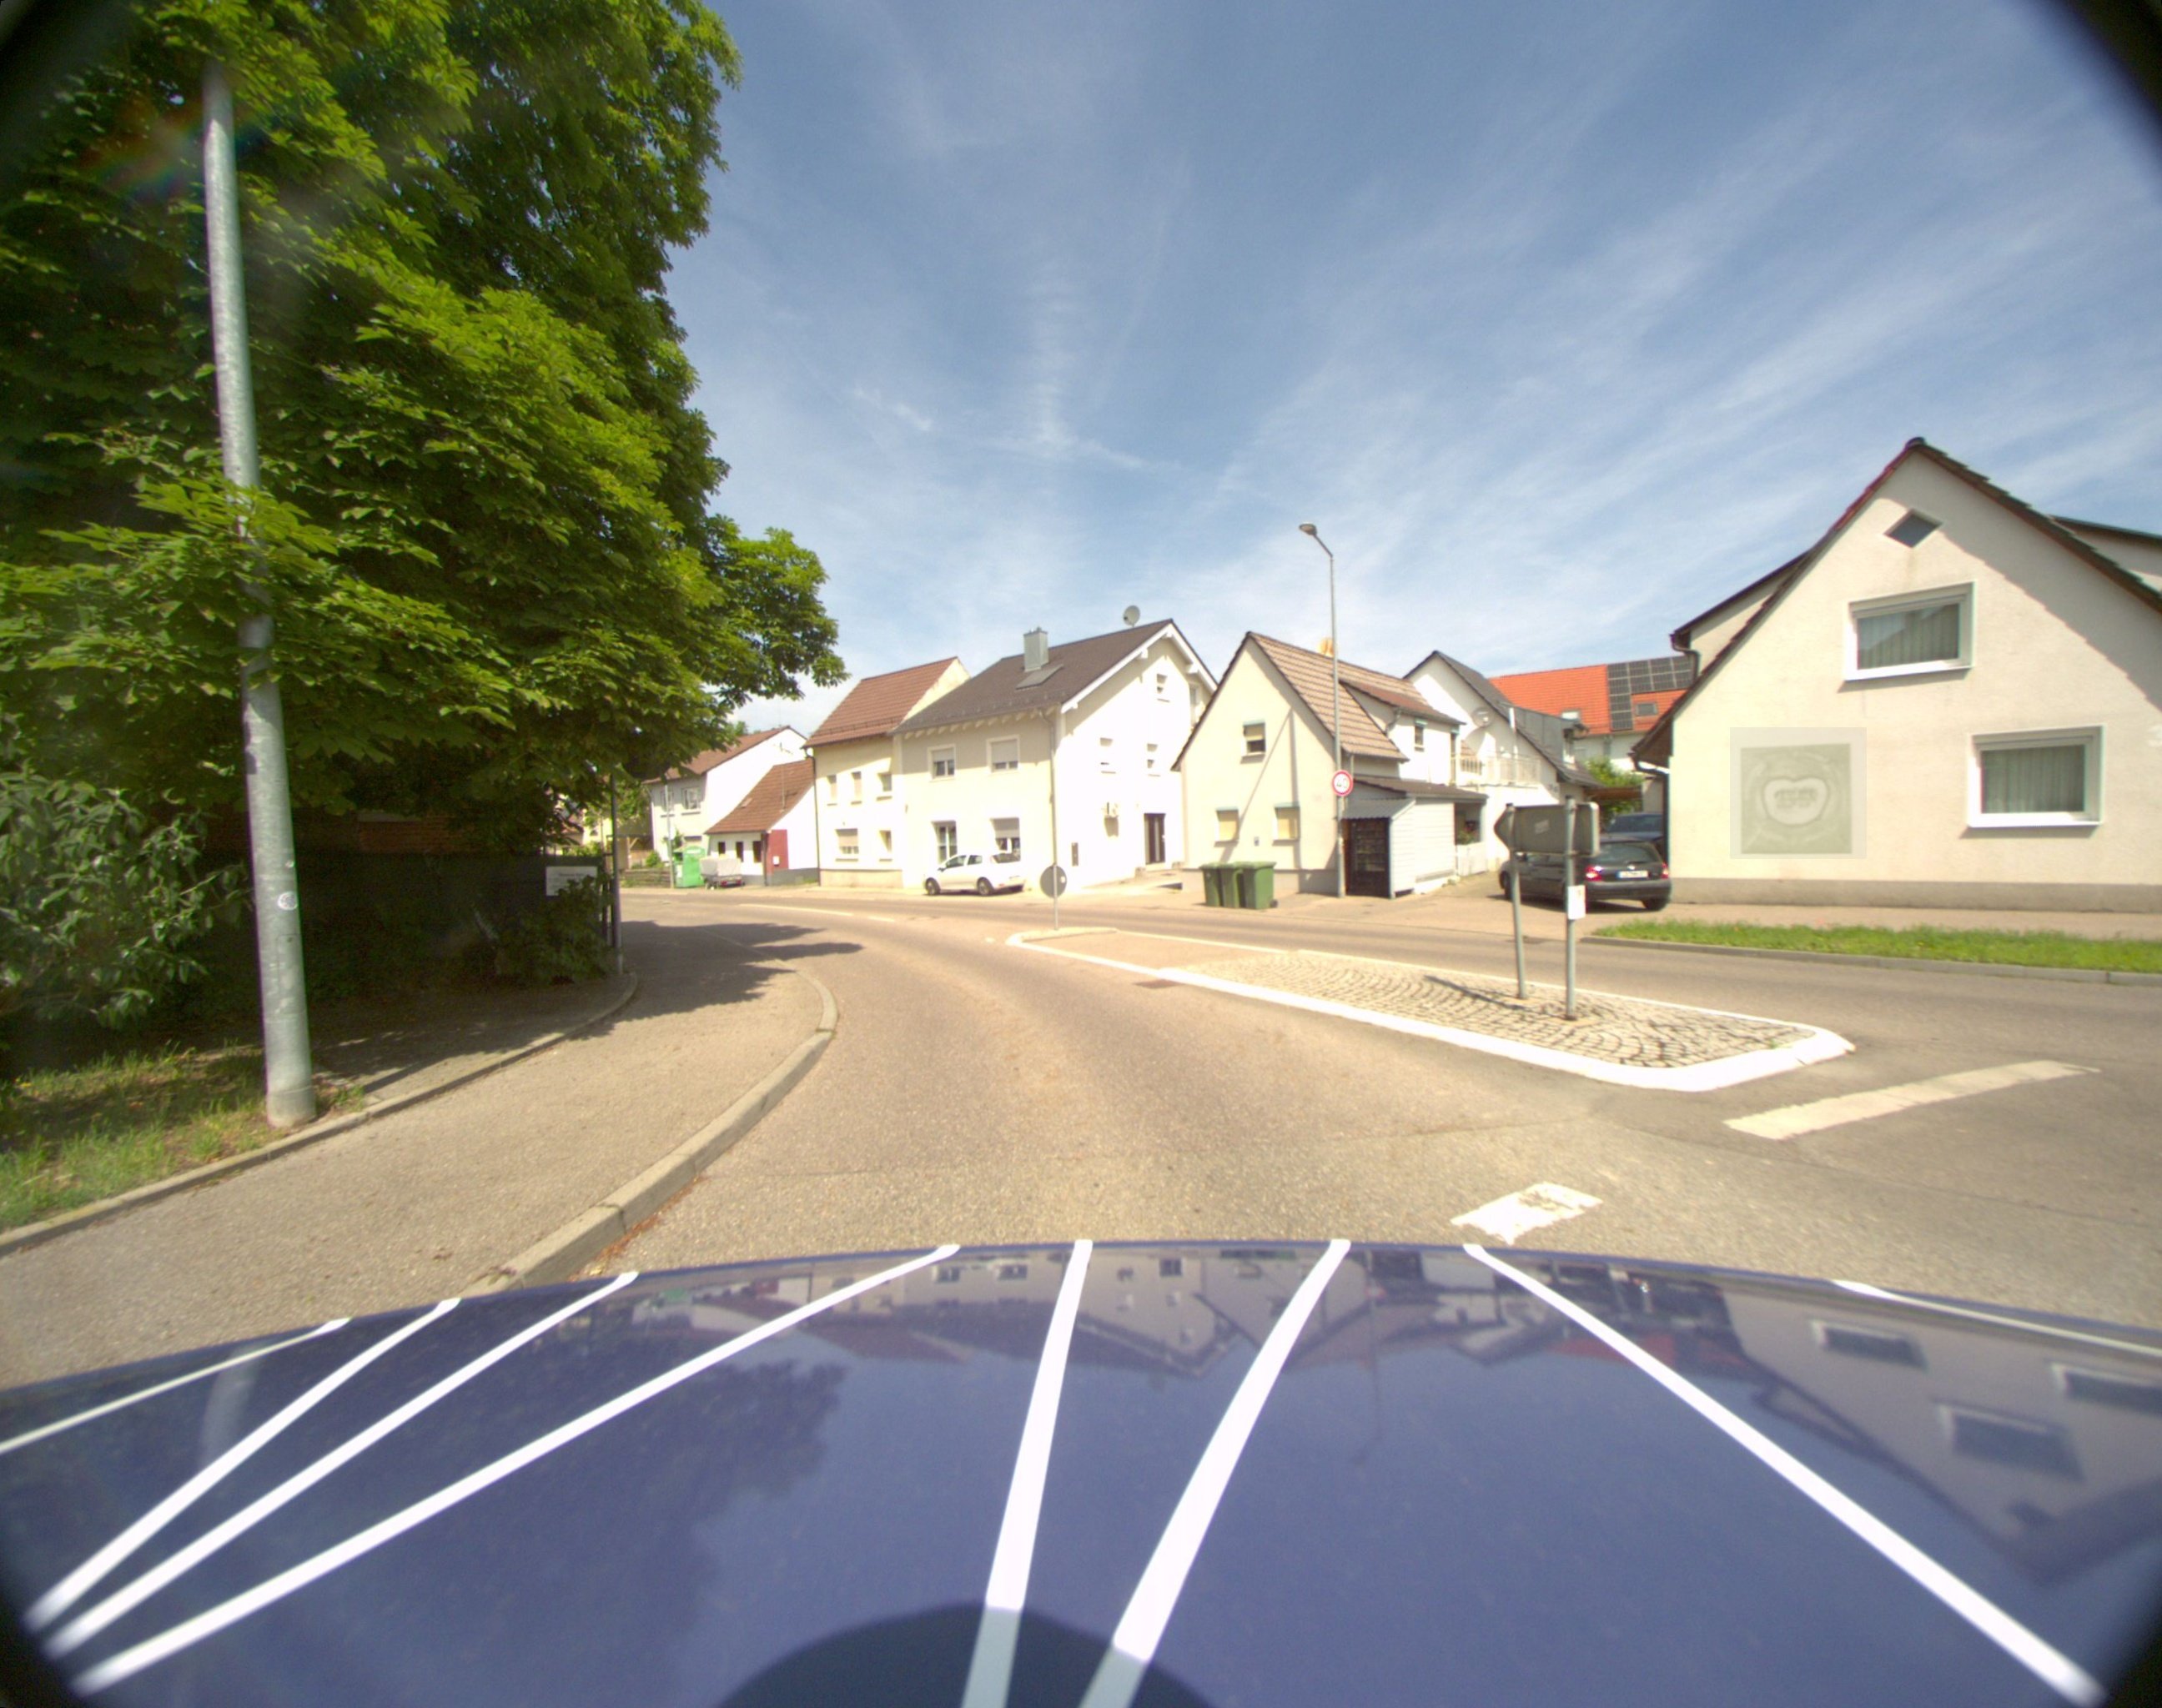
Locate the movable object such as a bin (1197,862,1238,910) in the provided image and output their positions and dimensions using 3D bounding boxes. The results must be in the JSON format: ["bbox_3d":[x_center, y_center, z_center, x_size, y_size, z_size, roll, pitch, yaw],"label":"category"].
[{"bbox_3d":[3.277,0.755,18.228,0.644,1.087,0.630,-6,4,-37],"label":"movable object such as a bin"}]

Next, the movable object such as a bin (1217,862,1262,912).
[{"bbox_3d":[3.697,0.758,17.704,0.733,1.071,0.631,-6,4,-37],"label":"movable object such as a bin"}]

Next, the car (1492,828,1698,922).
[{"bbox_3d":[9.994,0.305,15.171,1.776,1.433,3.846,-3,3,6],"label":"car"}]

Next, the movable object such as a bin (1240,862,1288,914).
[{"bbox_3d":[4.132,0.752,17.136,0.684,1.071,0.723,-6,4,-37],"label":"movable object such as a bin"}]

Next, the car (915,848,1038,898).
[{"bbox_3d":[-3.625,0.634,26.173,3.989,1.494,1.829,-1,3,37],"label":"car"}]

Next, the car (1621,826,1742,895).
[{"bbox_3d":[16.078,0.114,20.286,3.878,1.635,1.994,-2,1,-44],"label":"car"}]
